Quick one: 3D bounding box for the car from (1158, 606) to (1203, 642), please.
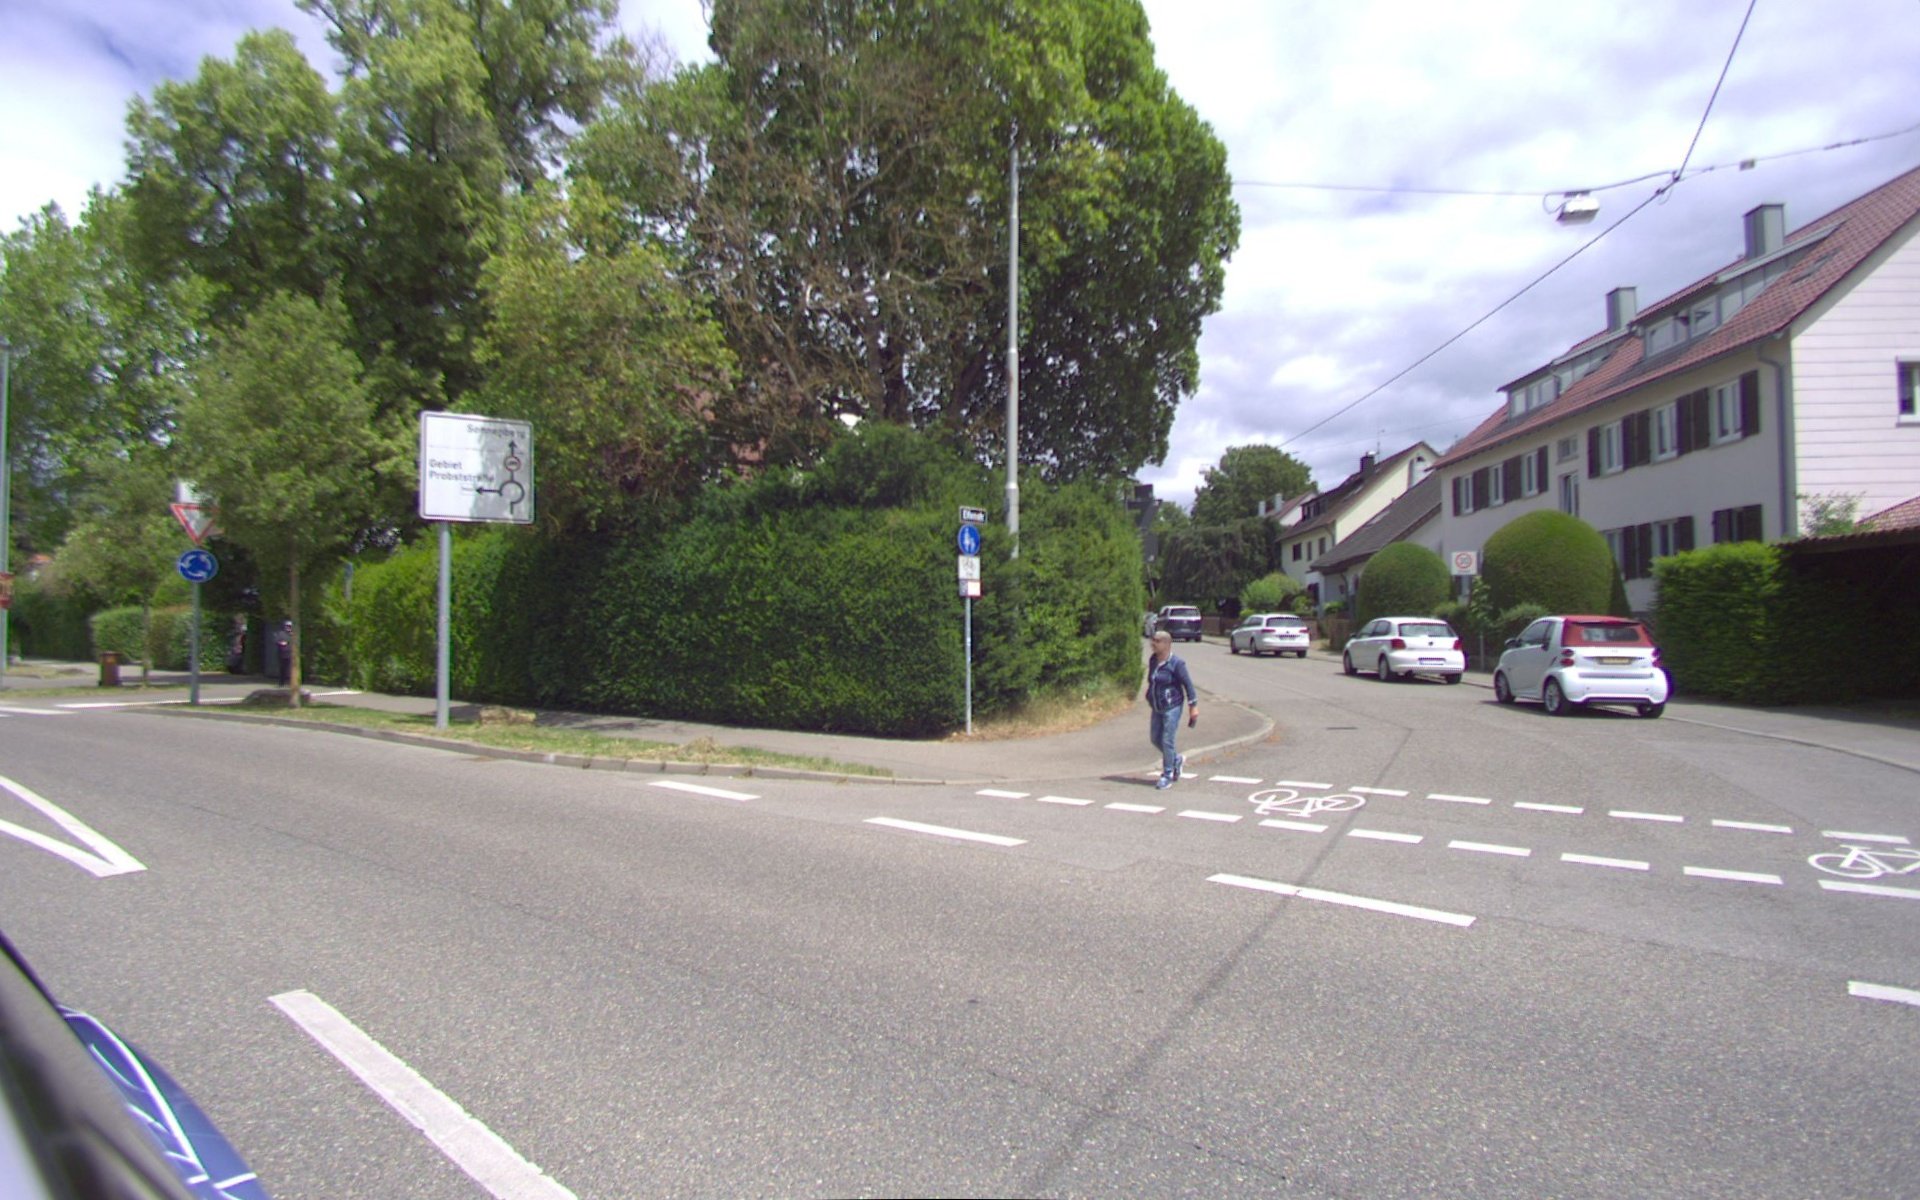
[{"bbox_3d":[11.657,1.272,53.775,1.942,1.885,3.992,0,-1,7],"label":"car"}]

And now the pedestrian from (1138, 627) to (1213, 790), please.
[{"bbox_3d":[2.098,1.030,9.926,0.620,1.520,0.729,0,-1,6],"label":"pedestrian"}]

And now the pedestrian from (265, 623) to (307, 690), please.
[{"bbox_3d":[-17.450,1.439,26.193,0.694,1.704,0.736,-1,-2,42],"label":"pedestrian"}]

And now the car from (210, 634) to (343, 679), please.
[{"bbox_3d":[-24.225,2.026,35.953,1.665,1.408,3.529,-1,-5,41],"label":"car"}]

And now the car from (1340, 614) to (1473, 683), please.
[{"bbox_3d":[10.277,1.062,23.559,1.693,1.466,3.531,0,-1,4],"label":"car"}]

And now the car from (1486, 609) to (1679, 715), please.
[{"bbox_3d":[10.034,0.940,16.532,1.570,1.567,2.774,0,-1,5],"label":"car"}]

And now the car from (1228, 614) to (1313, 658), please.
[{"bbox_3d":[10.804,1.210,35.516,1.682,1.416,4.279,0,-1,1],"label":"car"}]
